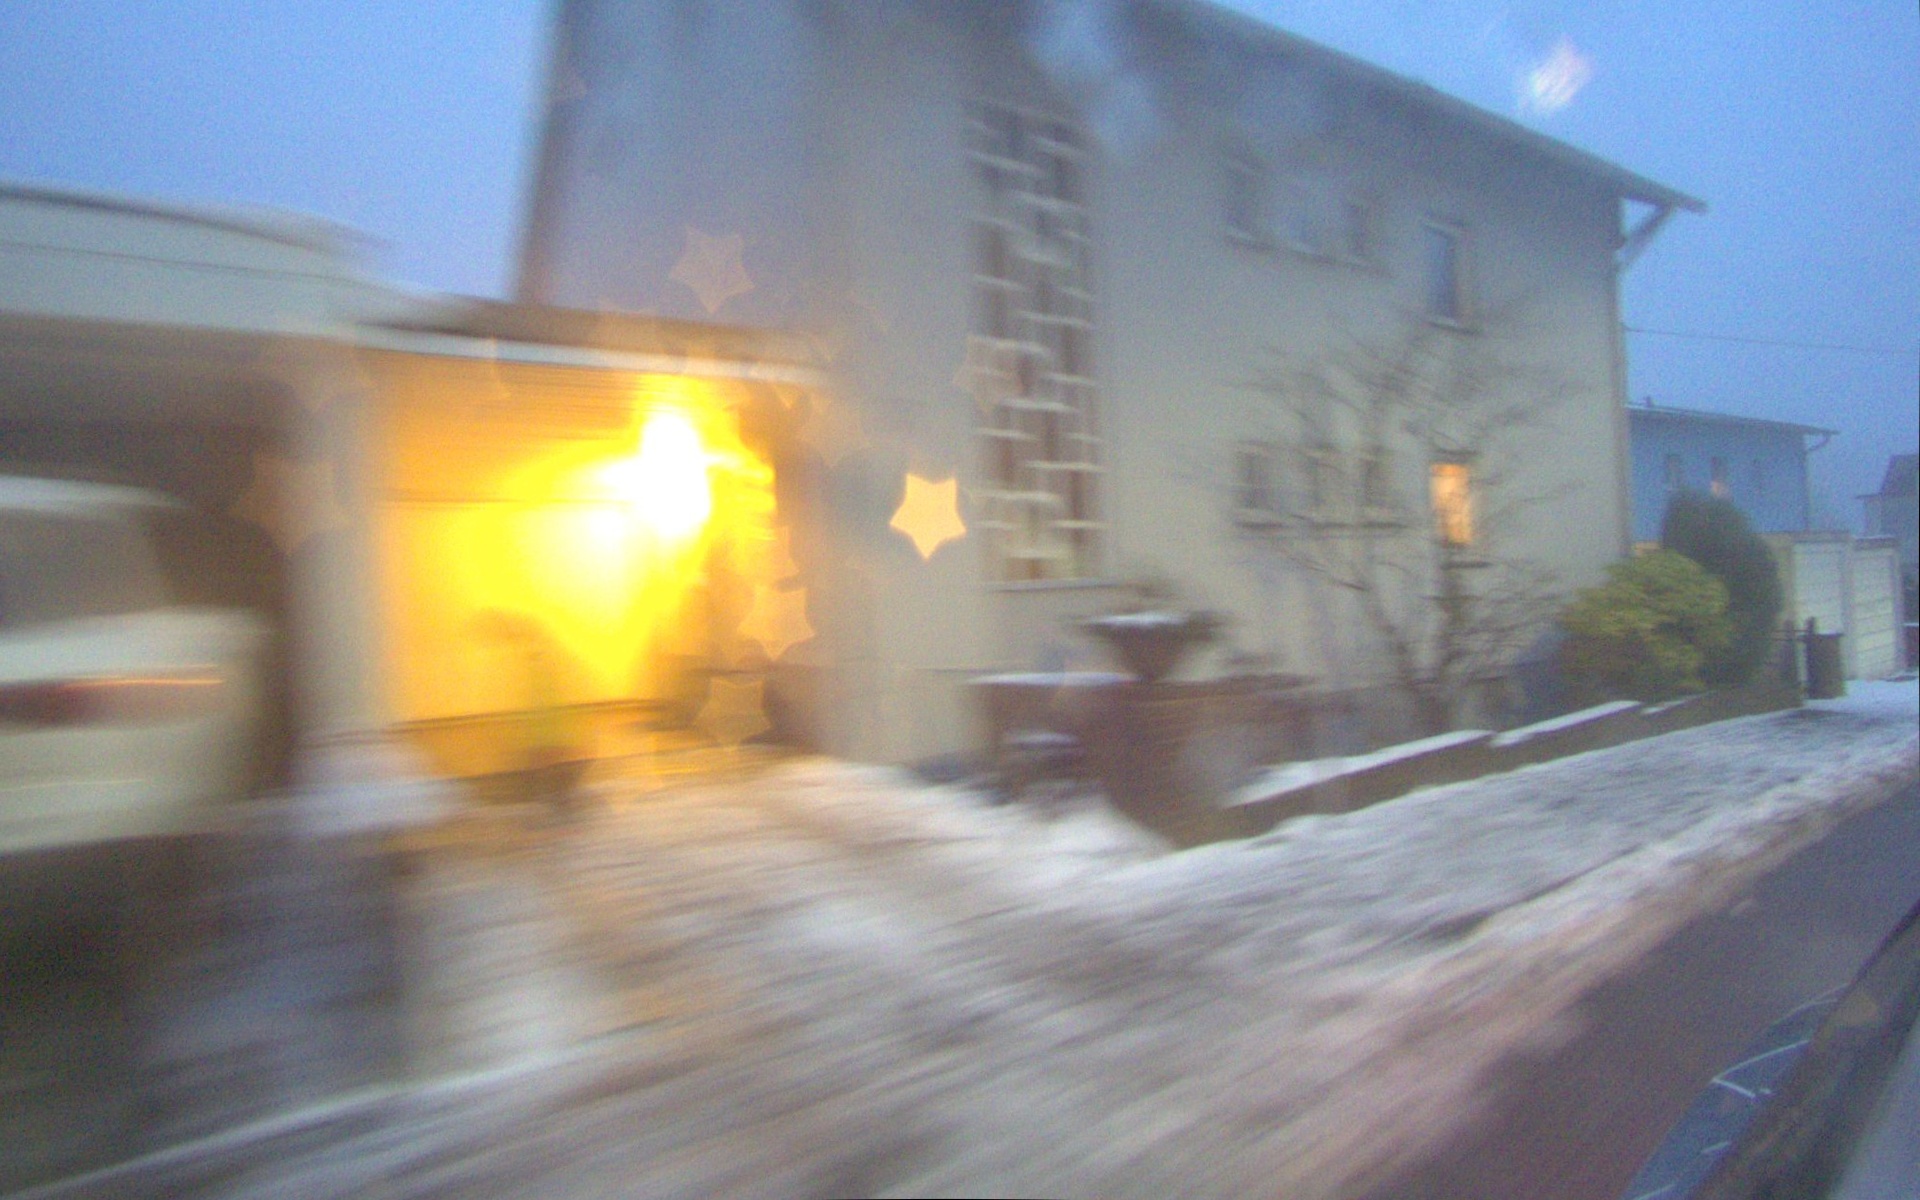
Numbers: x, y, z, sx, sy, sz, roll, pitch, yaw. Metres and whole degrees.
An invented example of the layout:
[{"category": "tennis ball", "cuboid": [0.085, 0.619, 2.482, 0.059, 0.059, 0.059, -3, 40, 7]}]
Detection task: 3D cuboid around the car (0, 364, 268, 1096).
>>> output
[{"category": "car", "cuboid": [-4.060, 0.332, 4.094, 1.874, 1.881, 4.222, -1, 1, -32]}]
